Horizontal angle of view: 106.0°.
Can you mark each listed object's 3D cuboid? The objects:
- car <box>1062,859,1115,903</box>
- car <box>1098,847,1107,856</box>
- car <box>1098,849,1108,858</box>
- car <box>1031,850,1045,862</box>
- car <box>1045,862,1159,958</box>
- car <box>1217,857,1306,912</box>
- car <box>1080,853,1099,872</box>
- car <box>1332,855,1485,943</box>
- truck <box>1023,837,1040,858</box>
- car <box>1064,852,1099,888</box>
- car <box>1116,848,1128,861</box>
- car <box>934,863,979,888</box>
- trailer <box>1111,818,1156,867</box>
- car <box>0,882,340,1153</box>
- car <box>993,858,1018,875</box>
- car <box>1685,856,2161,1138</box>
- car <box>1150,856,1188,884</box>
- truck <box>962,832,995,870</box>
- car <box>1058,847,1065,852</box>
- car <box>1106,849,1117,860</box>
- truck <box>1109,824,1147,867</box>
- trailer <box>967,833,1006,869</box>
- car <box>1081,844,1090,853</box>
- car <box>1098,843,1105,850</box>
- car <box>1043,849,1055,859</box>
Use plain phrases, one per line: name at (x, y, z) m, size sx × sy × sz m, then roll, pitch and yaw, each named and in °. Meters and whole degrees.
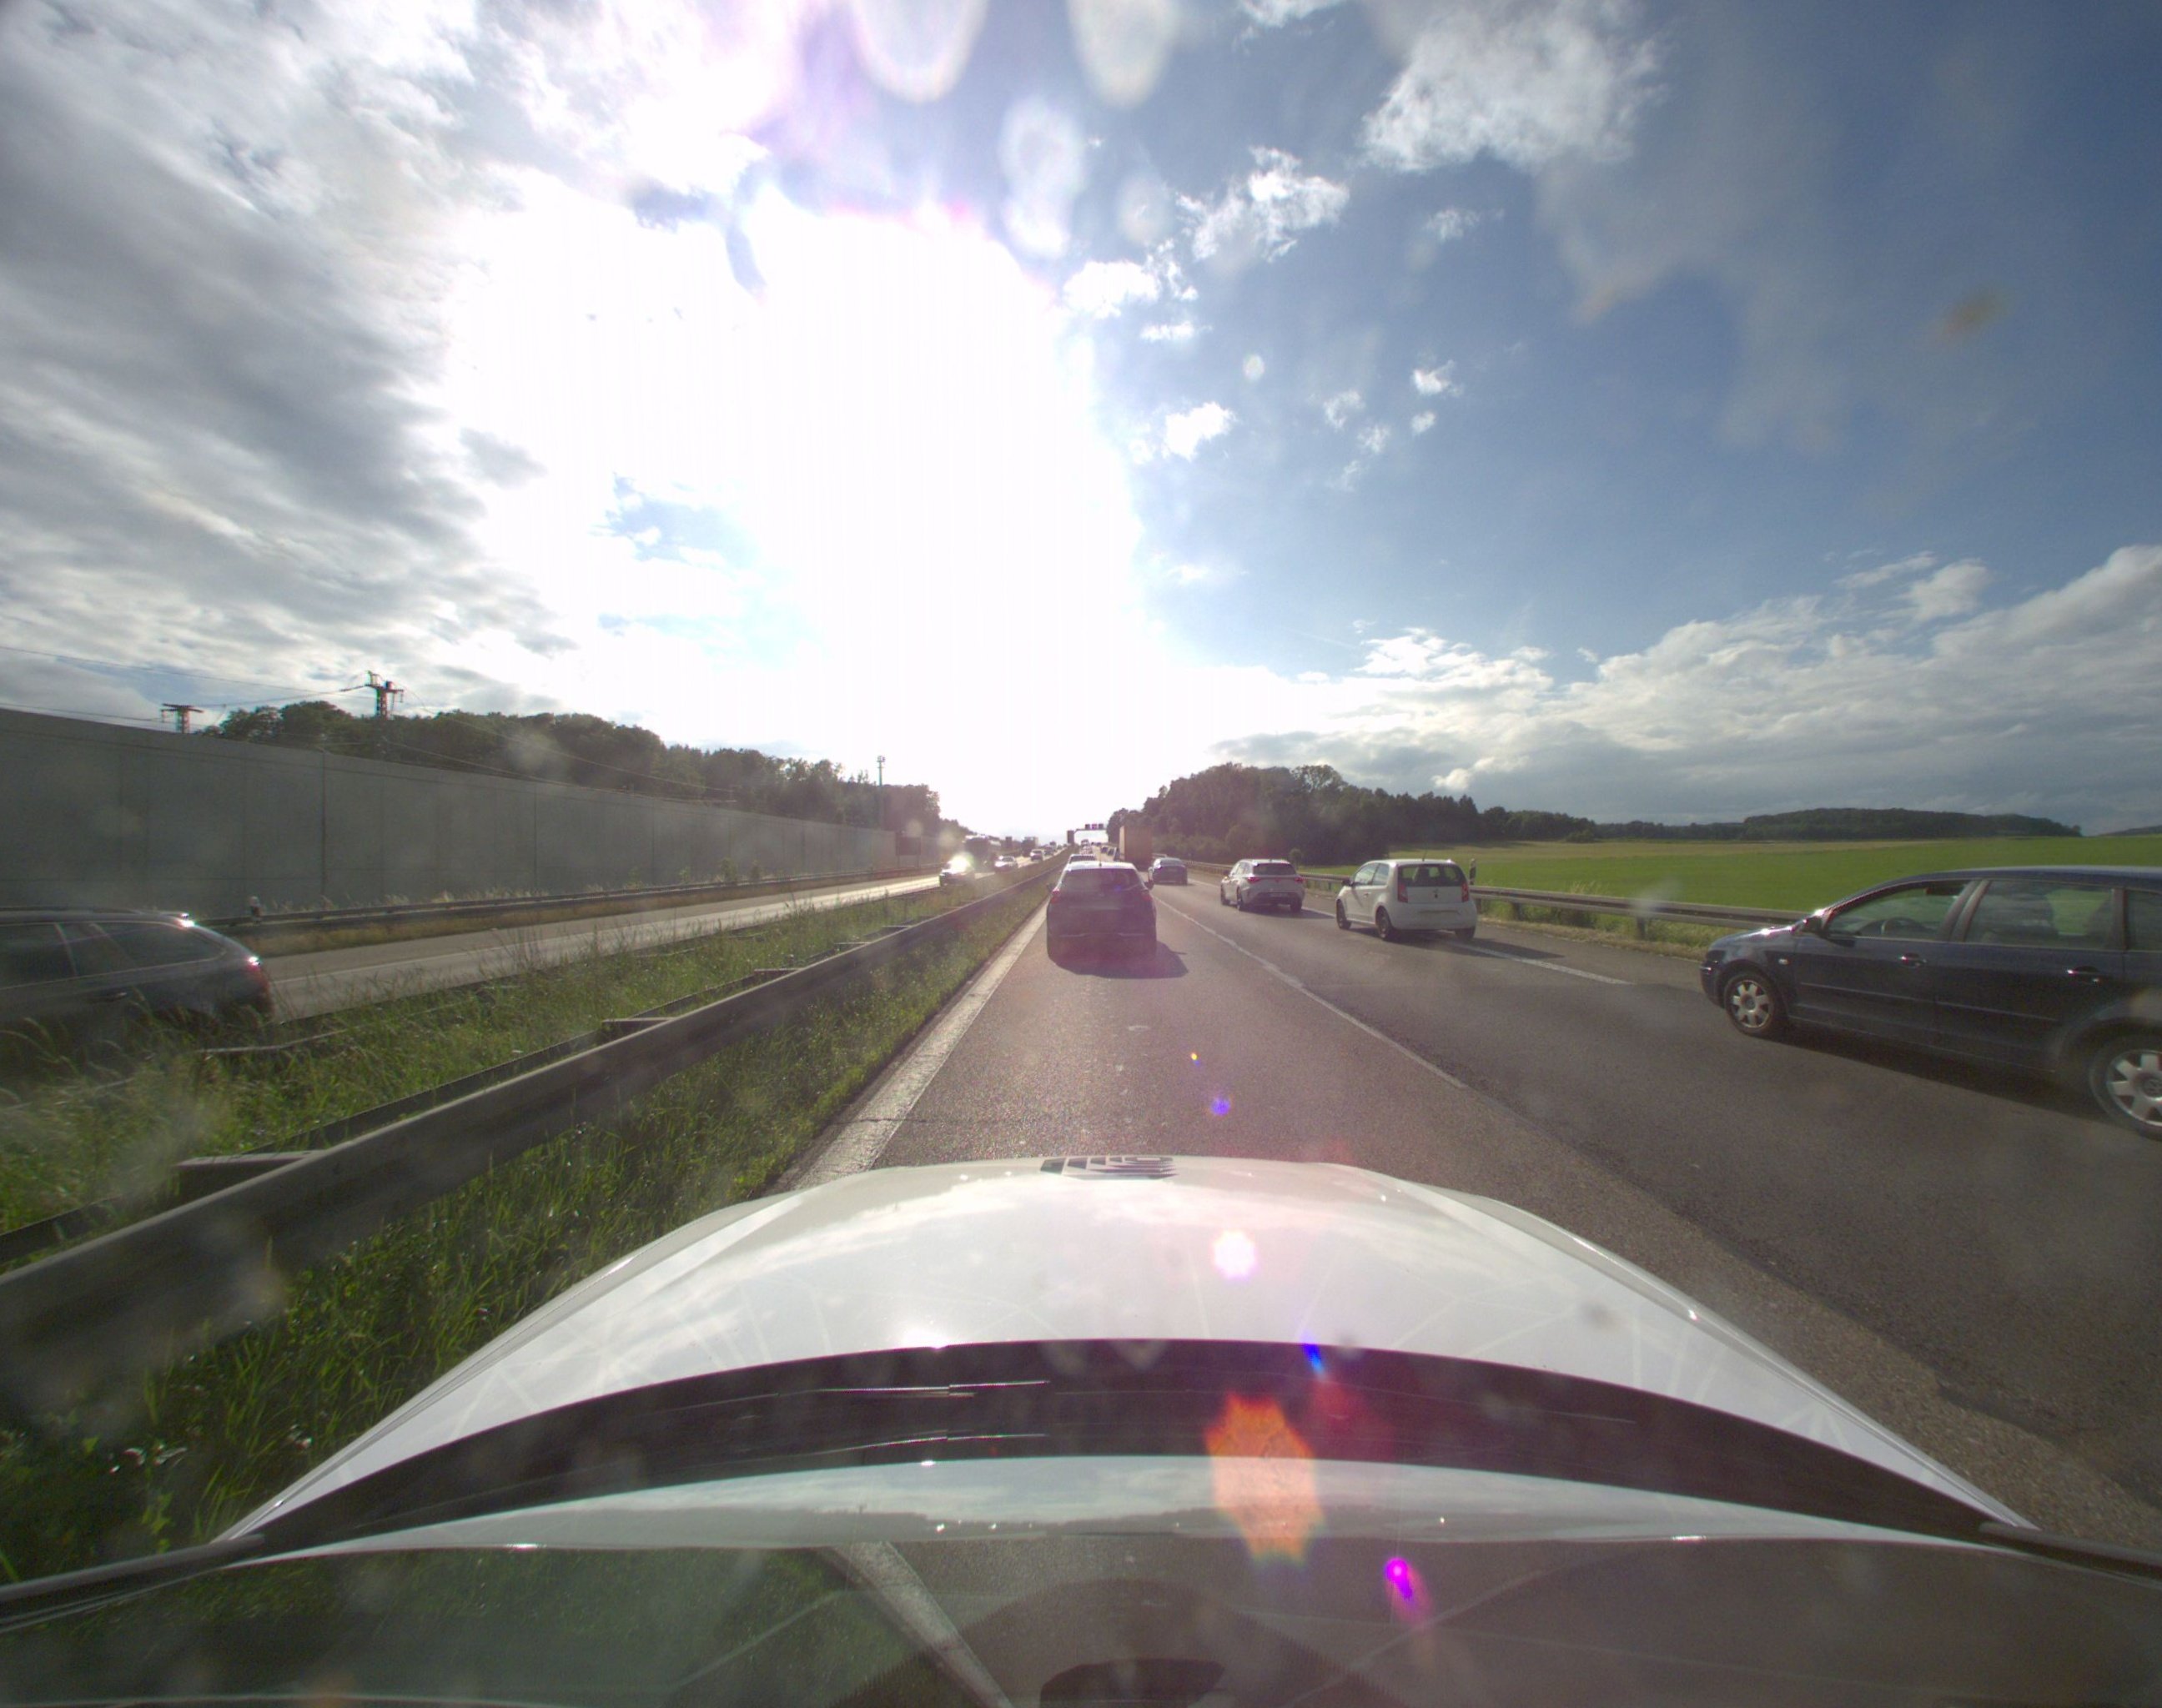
car at (0.275, 0.869, 27.472) m, size 1.668 × 1.367 × 3.597 m, roll 0°, pitch -1°, yaw 1°
car at (5.370, -0.619, 205.352) m, size 1.987 × 2.014 × 3.999 m, roll 0°, pitch -1°, yaw 0°
car at (4.737, -0.116, 173.852) m, size 1.987 × 2.014 × 3.999 m, roll 0°, pitch -1°, yaw 0°
car at (-6.845, 0.357, 129.952) m, size 1.853 × 1.834 × 4.281 m, roll 0°, pitch -1°, yaw 1°
car at (0.377, 0.867, 13.939) m, size 1.703 × 1.426 × 3.379 m, roll 0°, pitch -1°, yaw 2°
car at (5.147, 0.834, 23.727) m, size 1.616 × 1.446 × 4.145 m, roll 0°, pitch -1°, yaw -1°
car at (0.899, 0.984, 89.387) m, size 1.987 × 2.014 × 3.999 m, roll 0°, pitch -1°, yaw 0°
car at (6.139, 0.768, 15.670) m, size 1.544 × 1.495 × 3.376 m, roll 0°, pitch 0°, yaw -1°
truck at (-9.981, -1.190, 164.885) m, size 2.744 × 4.090 × 6.953 m, roll -1°, pitch -1°, yaw 1°
car at (0.071, 0.801, 41.718) m, size 1.668 × 1.726 × 3.597 m, roll 0°, pitch -1°, yaw 1°
car at (5.934, 0.105, 118.040) m, size 1.661 × 1.755 × 3.328 m, roll 0°, pitch -1°, yaw 2°
car at (-7.578, 1.290, 49.928) m, size 1.986 × 1.486 × 4.399 m, roll 0°, pitch -1°, yaw 2°
trailer at (4.968, -0.973, 79.949) m, size 3.537 × 4.457 × 12.719 m, roll 0°, pitch -1°, yaw 0°
car at (-7.109, 0.960, 4.448) m, size 1.836 × 1.508 × 4.552 m, roll 0°, pitch -1°, yaw 2°
car at (-7.072, 1.176, 76.725) m, size 1.796 × 1.516 × 4.691 m, roll 0°, pitch -1°, yaw 1°
car at (6.350, 0.747, 5.471) m, size 1.705 × 1.446 × 3.771 m, roll 0°, pitch -1°, yaw -2°
car at (4.737, 0.856, 44.410) m, size 1.741 × 1.475 × 4.148 m, roll 0°, pitch -1°, yaw 1°
truck at (-10.852, -0.260, 86.596) m, size 2.543 × 3.798 × 5.418 m, roll -3°, pitch -1°, yaw 1°
car at (-5.818, -1.262, 241.411) m, size 1.896 × 1.464 × 4.183 m, roll 0°, pitch -1°, yaw 0°
car at (5.758, 0.084, 155.786) m, size 1.987 × 2.014 × 3.999 m, roll 0°, pitch -1°, yaw 0°
truck at (4.936, -0.859, 86.708) m, size 3.571 × 4.380 × 6.686 m, roll 0°, pitch -1°, yaw 0°
trailer at (-10.695, -0.222, 93.364) m, size 2.531 × 3.771 × 12.543 m, roll -2°, pitch -1°, yaw 1°
car at (1.051, -1.236, 190.846) m, size 1.987 × 2.014 × 3.999 m, roll 0°, pitch -1°, yaw 0°
car at (6.397, -2.275, 258.243) m, size 1.987 × 2.014 × 3.999 m, roll 0°, pitch -1°, yaw 0°
car at (-6.455, 0.054, 165.250) m, size 1.987 × 1.883 × 4.787 m, roll -3°, pitch -1°, yaw 1°
